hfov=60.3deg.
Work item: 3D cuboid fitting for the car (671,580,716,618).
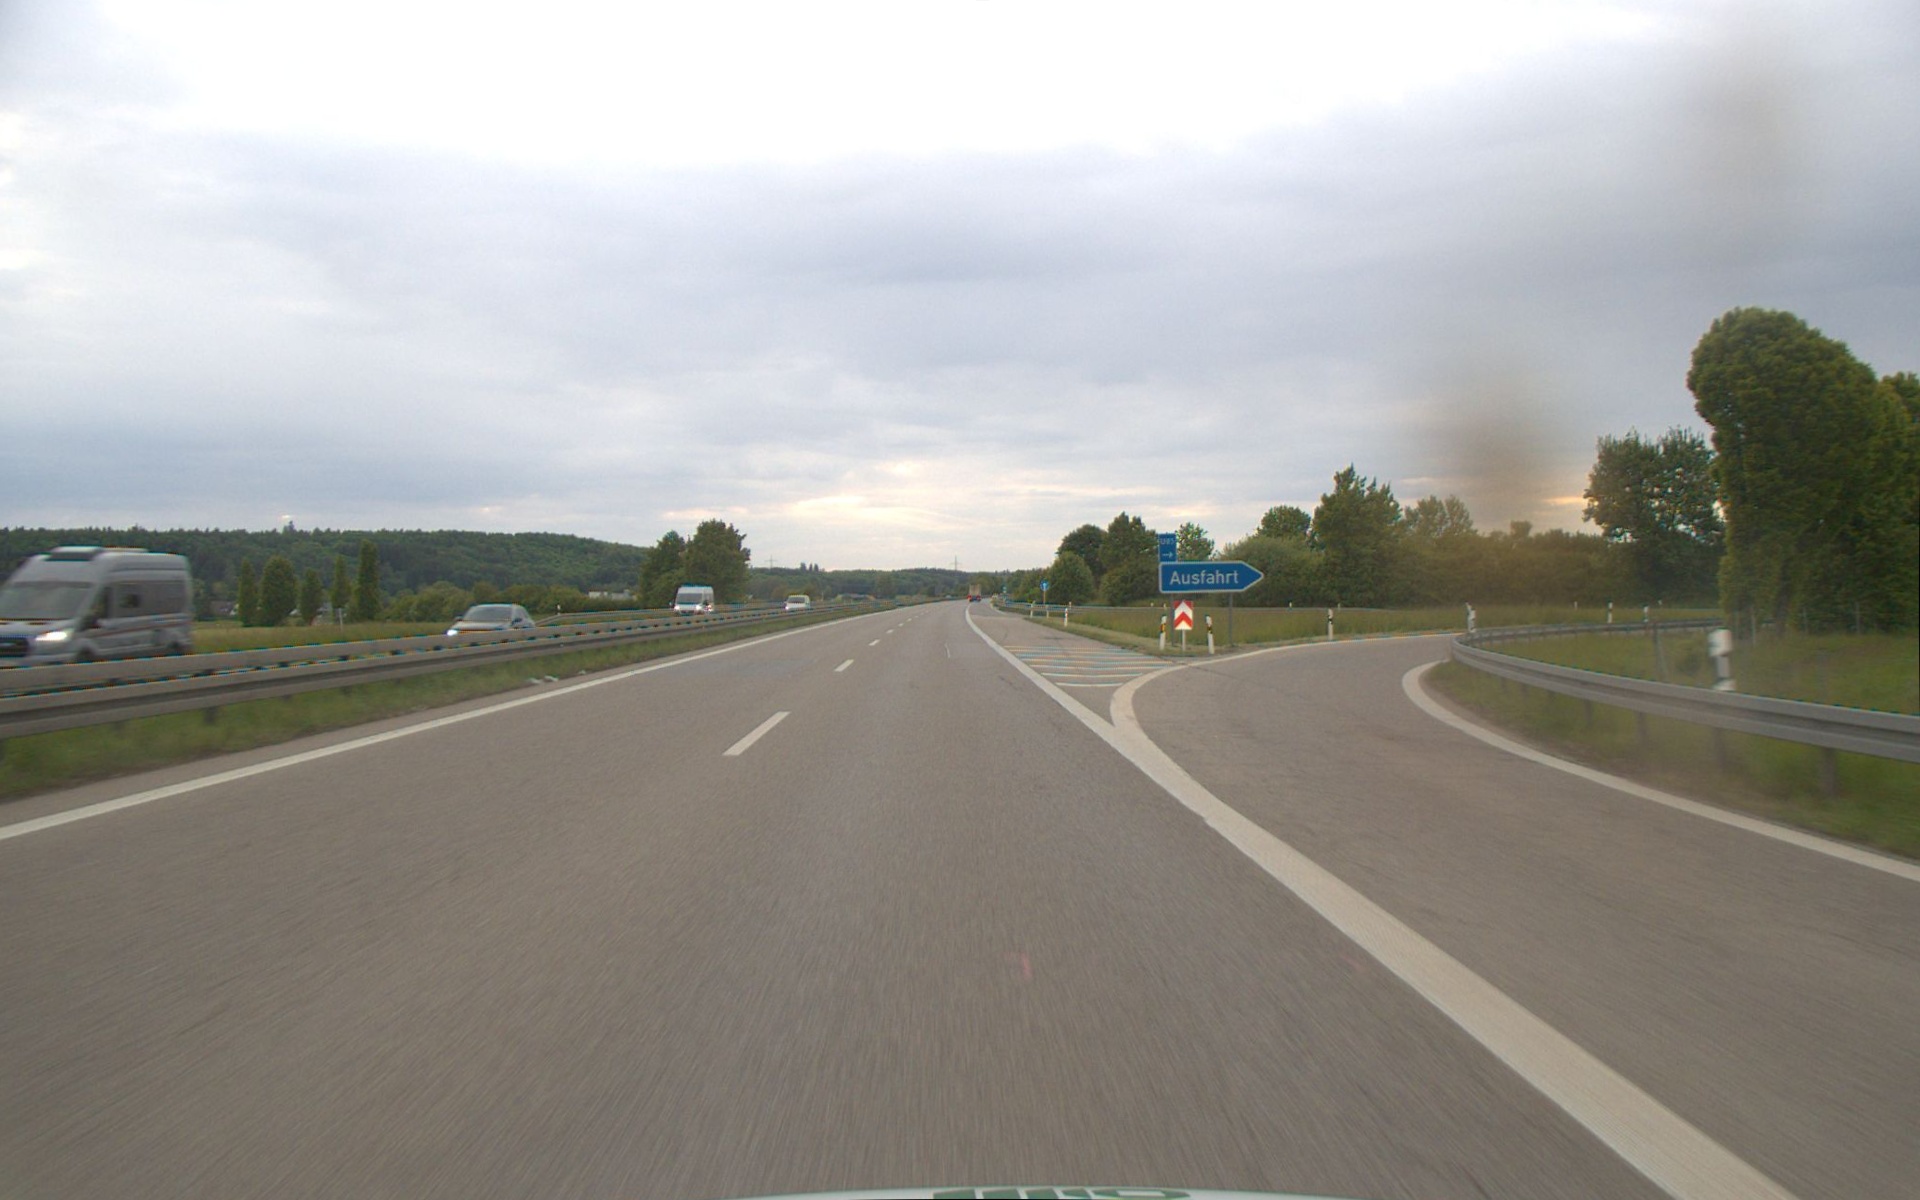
[{"bbox_3d":[-18.446,-0.056,114.657,2.102,2.526,6.588,1,0,-1],"label":"car"}]

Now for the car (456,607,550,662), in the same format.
[{"bbox_3d":[-13.691,0.990,49.775,1.711,1.534,4.199,1,0,-1],"label":"car"}]

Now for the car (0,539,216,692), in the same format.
[{"bbox_3d":[-17.840,0.271,34.168,2.063,2.849,6.426,1,0,-1],"label":"car"}]
